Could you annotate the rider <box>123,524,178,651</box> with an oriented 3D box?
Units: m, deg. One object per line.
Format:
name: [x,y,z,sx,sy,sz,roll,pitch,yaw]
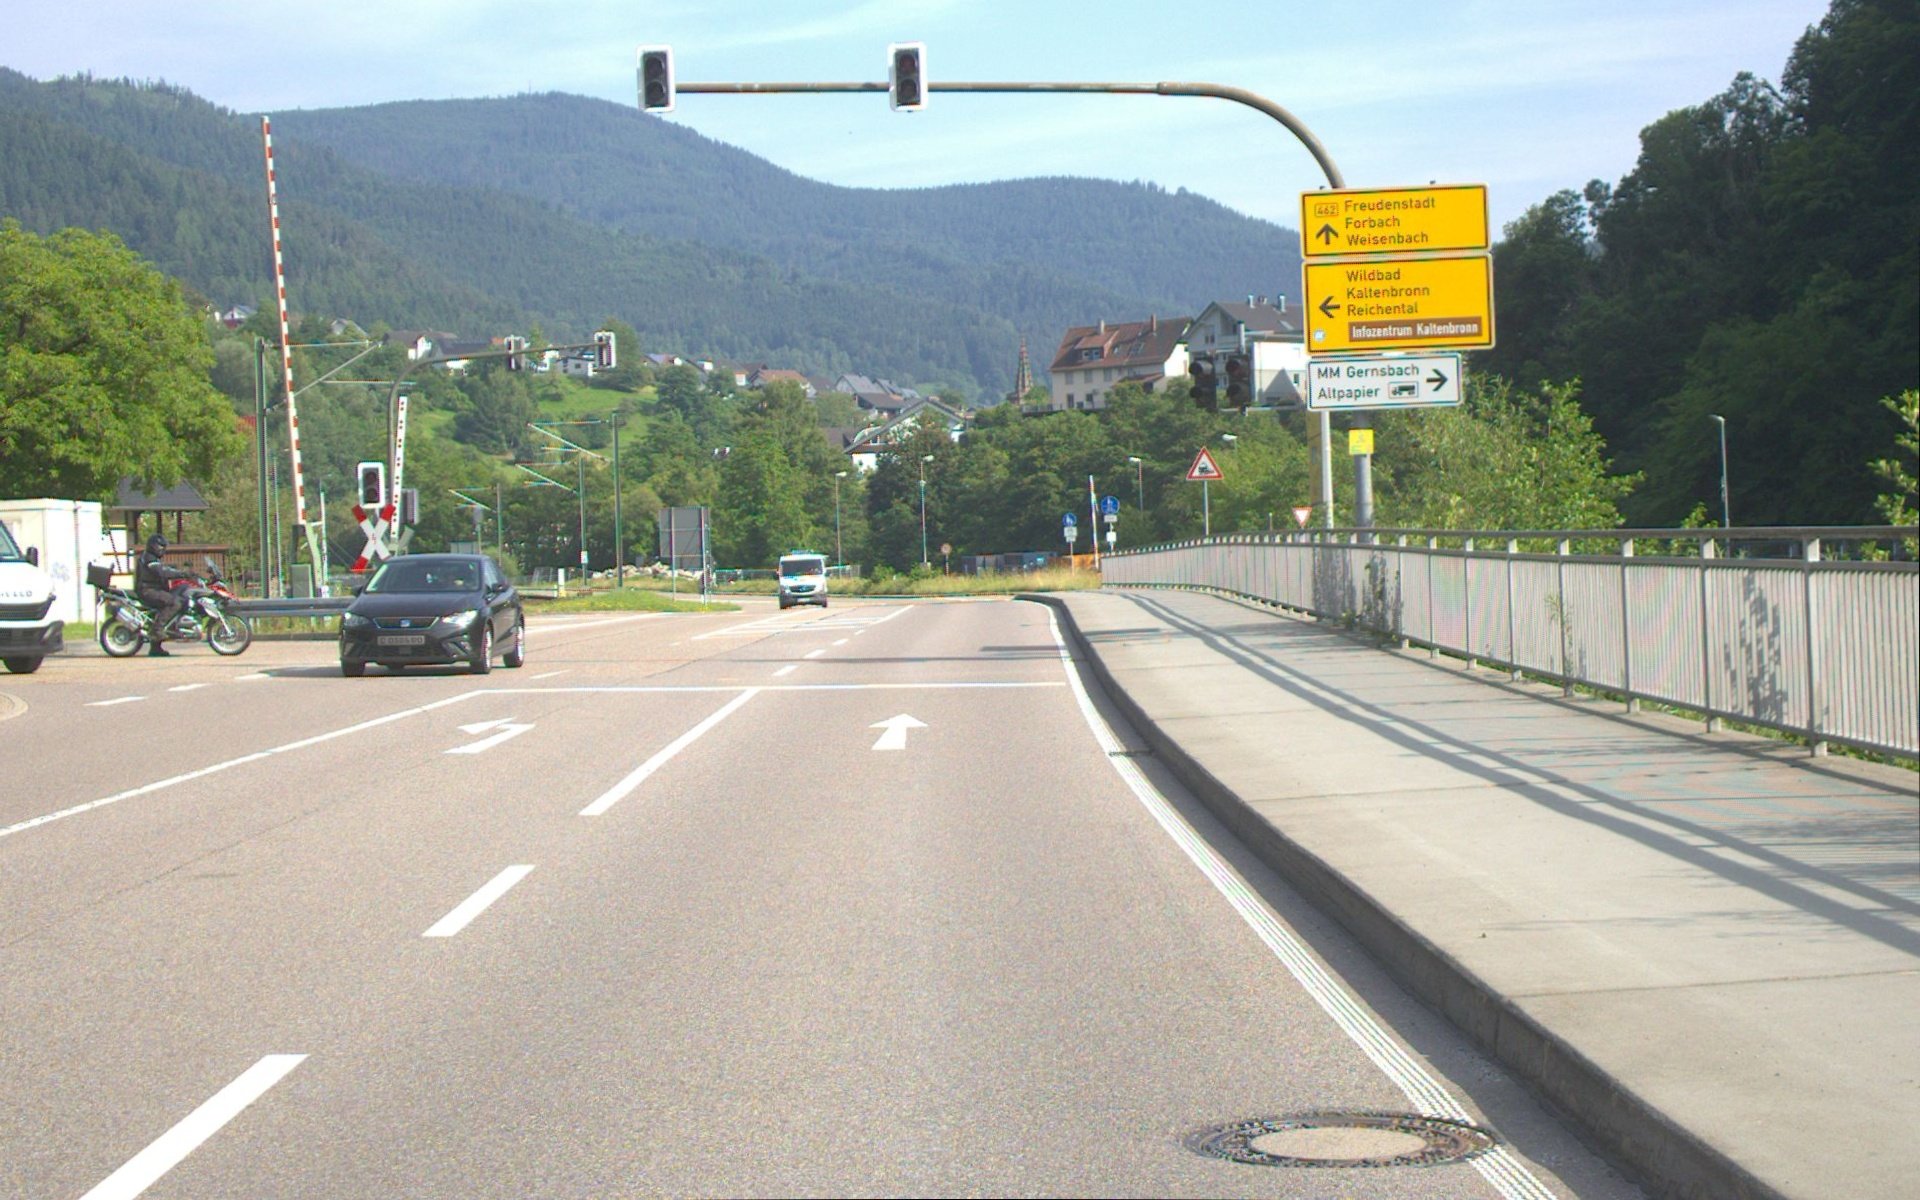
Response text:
rider: [-11.680,-0.190,49.578,0.752,1.813,0.743,0,2,-15]

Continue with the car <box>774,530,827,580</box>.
car: [-6.532,-1.843,141.248,1.993,2.007,4.557,-1,1,-1]

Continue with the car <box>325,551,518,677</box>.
car: [-6.444,0.133,41.487,1.773,1.412,3.785,-1,1,-1]

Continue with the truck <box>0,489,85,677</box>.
truck: [-13.874,-0.213,43.194,5.994,2.258,1.996,0,1,33]
